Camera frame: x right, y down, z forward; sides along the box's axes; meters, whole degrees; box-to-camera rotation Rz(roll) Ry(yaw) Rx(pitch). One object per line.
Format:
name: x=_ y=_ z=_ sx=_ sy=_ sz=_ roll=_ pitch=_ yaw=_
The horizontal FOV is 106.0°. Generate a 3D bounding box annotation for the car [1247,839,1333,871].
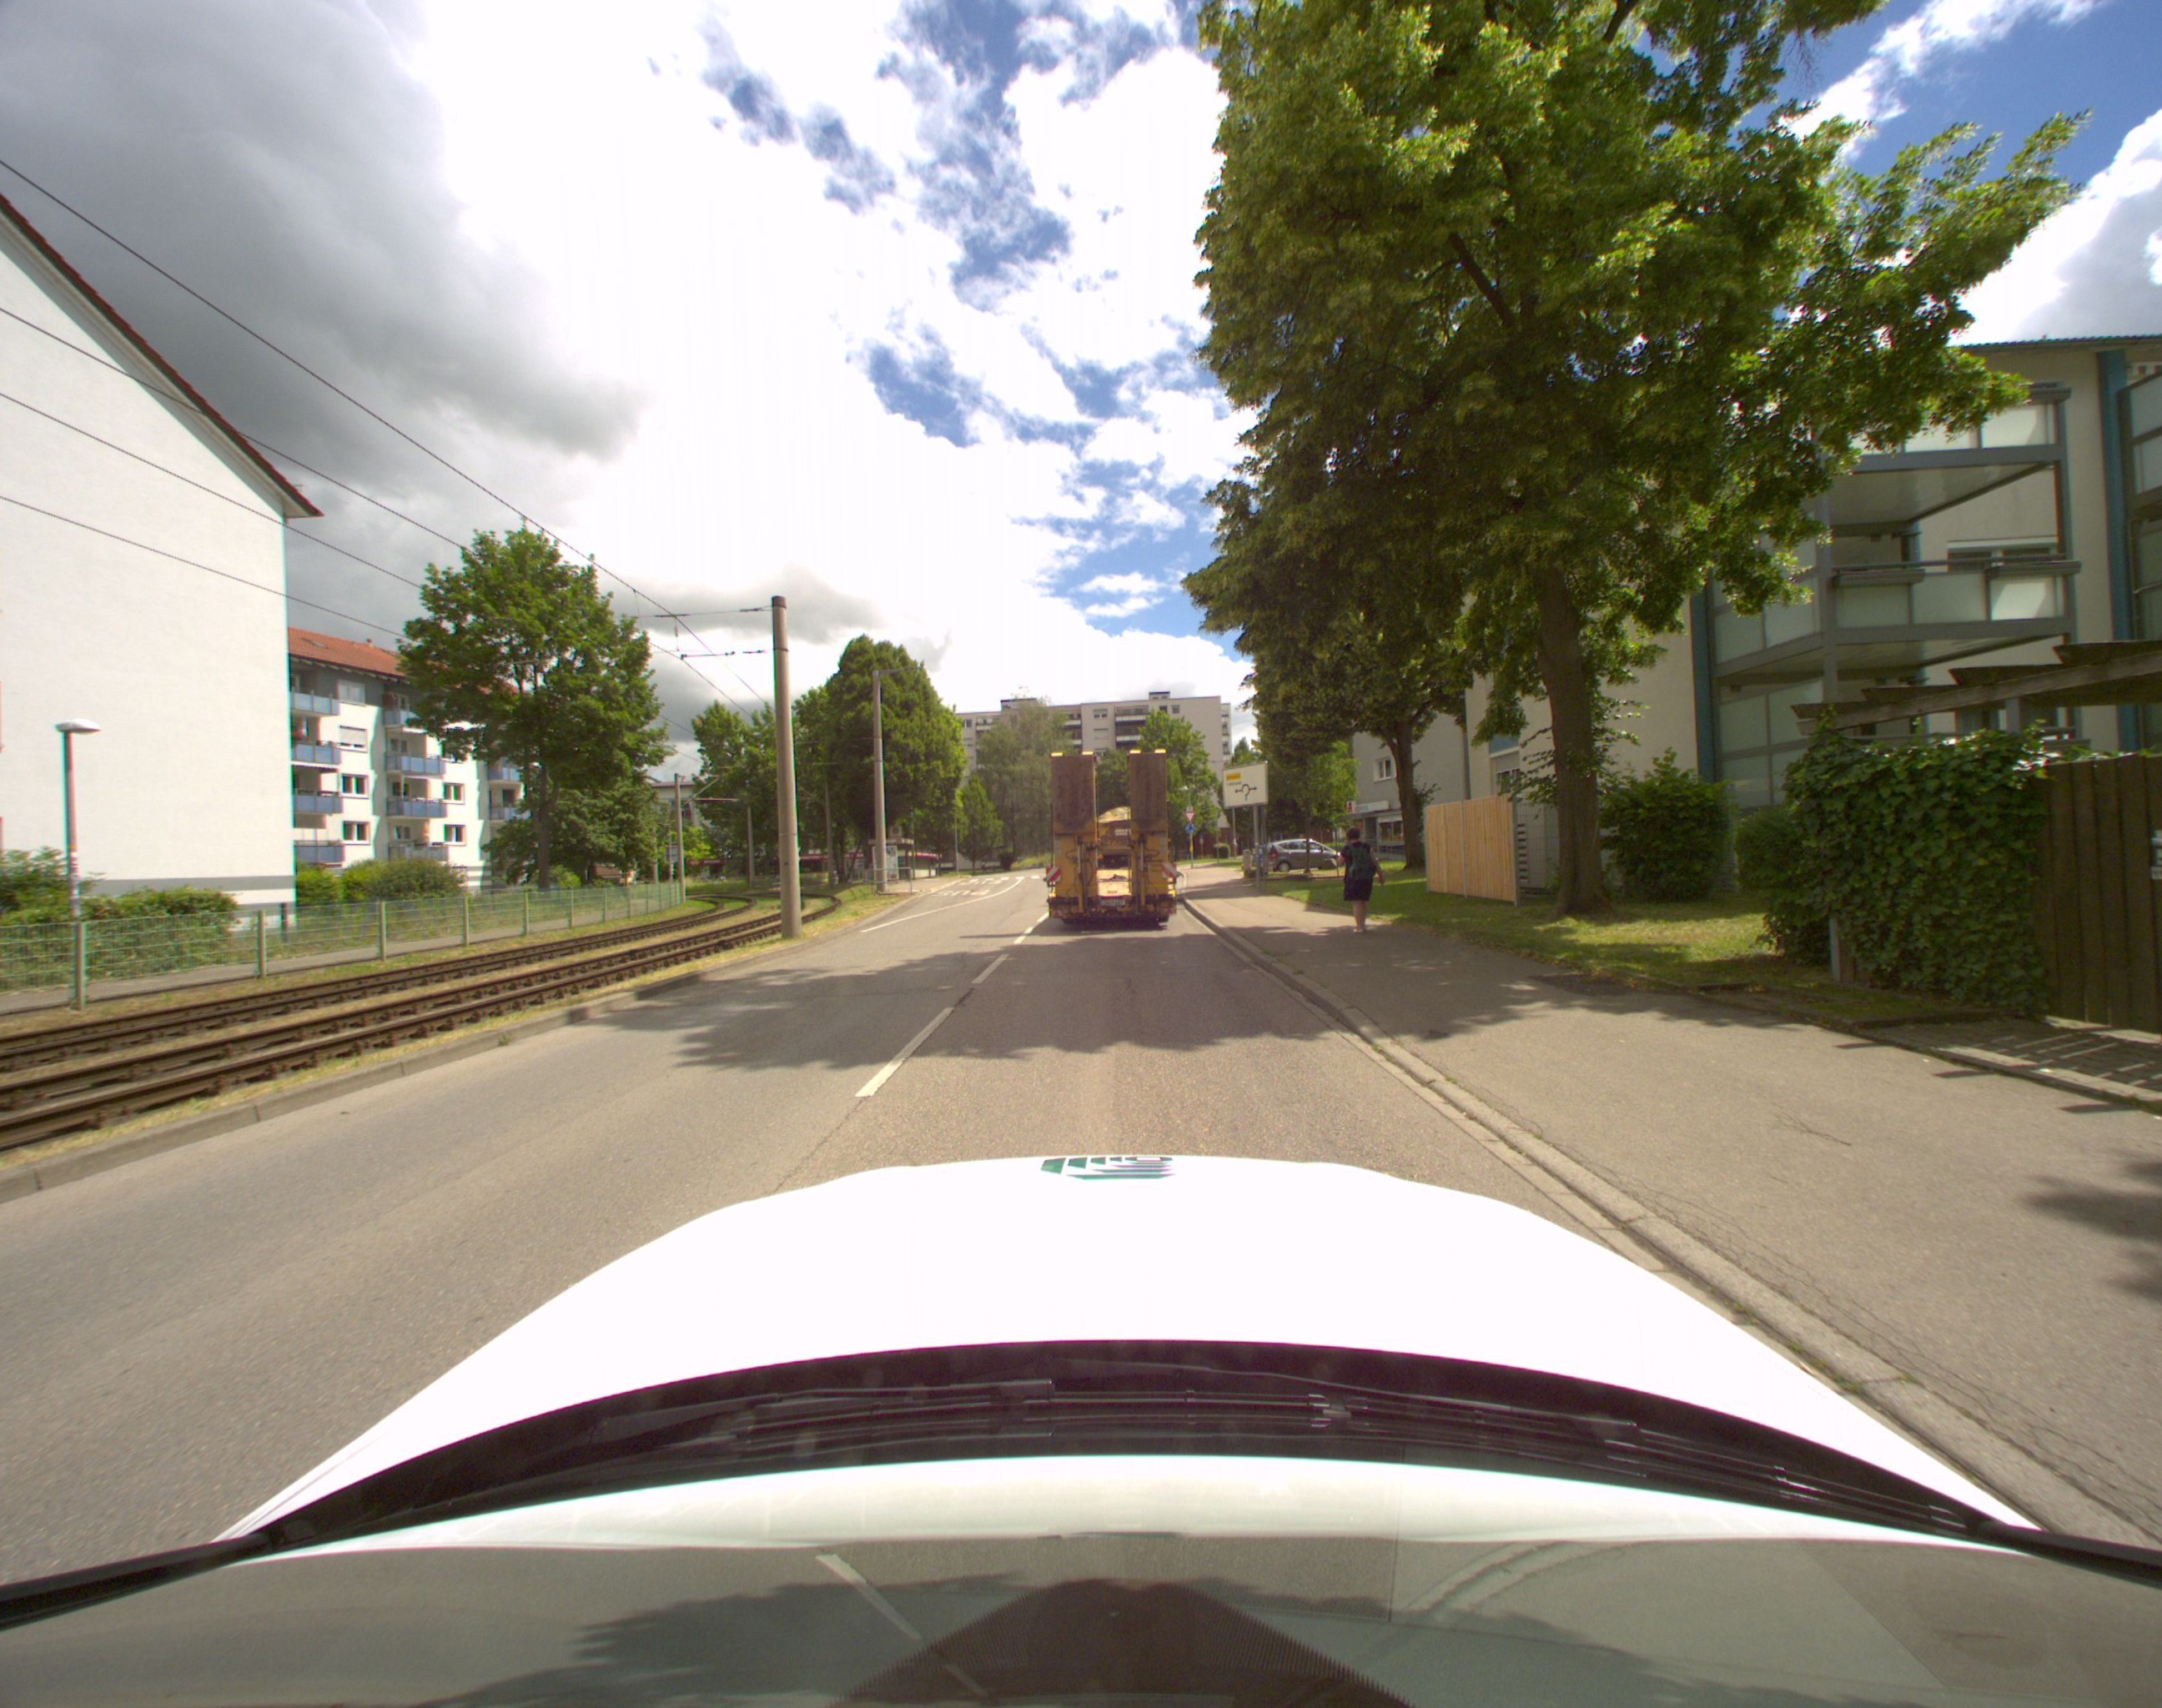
car: x=10.808 y=0.029 z=42.243 sx=3.988 sy=1.561 sz=1.753 roll=-1 pitch=0 yaw=-11

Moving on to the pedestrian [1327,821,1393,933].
pedestrian: x=4.435 y=0.351 z=12.996 sx=0.715 sy=1.706 sz=0.766 roll=-3 pitch=0 yaw=1

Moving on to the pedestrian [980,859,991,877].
pedestrian: x=-10.791 y=1.595 z=92.103 sx=0.913 sy=2.013 sz=0.953 roll=-1 pitch=0 yaw=-29

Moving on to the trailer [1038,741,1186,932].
trailer: x=0.792 y=-0.368 z=21.947 sx=2.816 sy=3.646 sz=12.359 roll=-1 pitch=0 yaw=2

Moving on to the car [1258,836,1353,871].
car: x=10.667 y=-0.025 z=38.783 sx=3.988 sy=1.561 sz=1.753 roll=-1 pitch=0 yaw=-11
